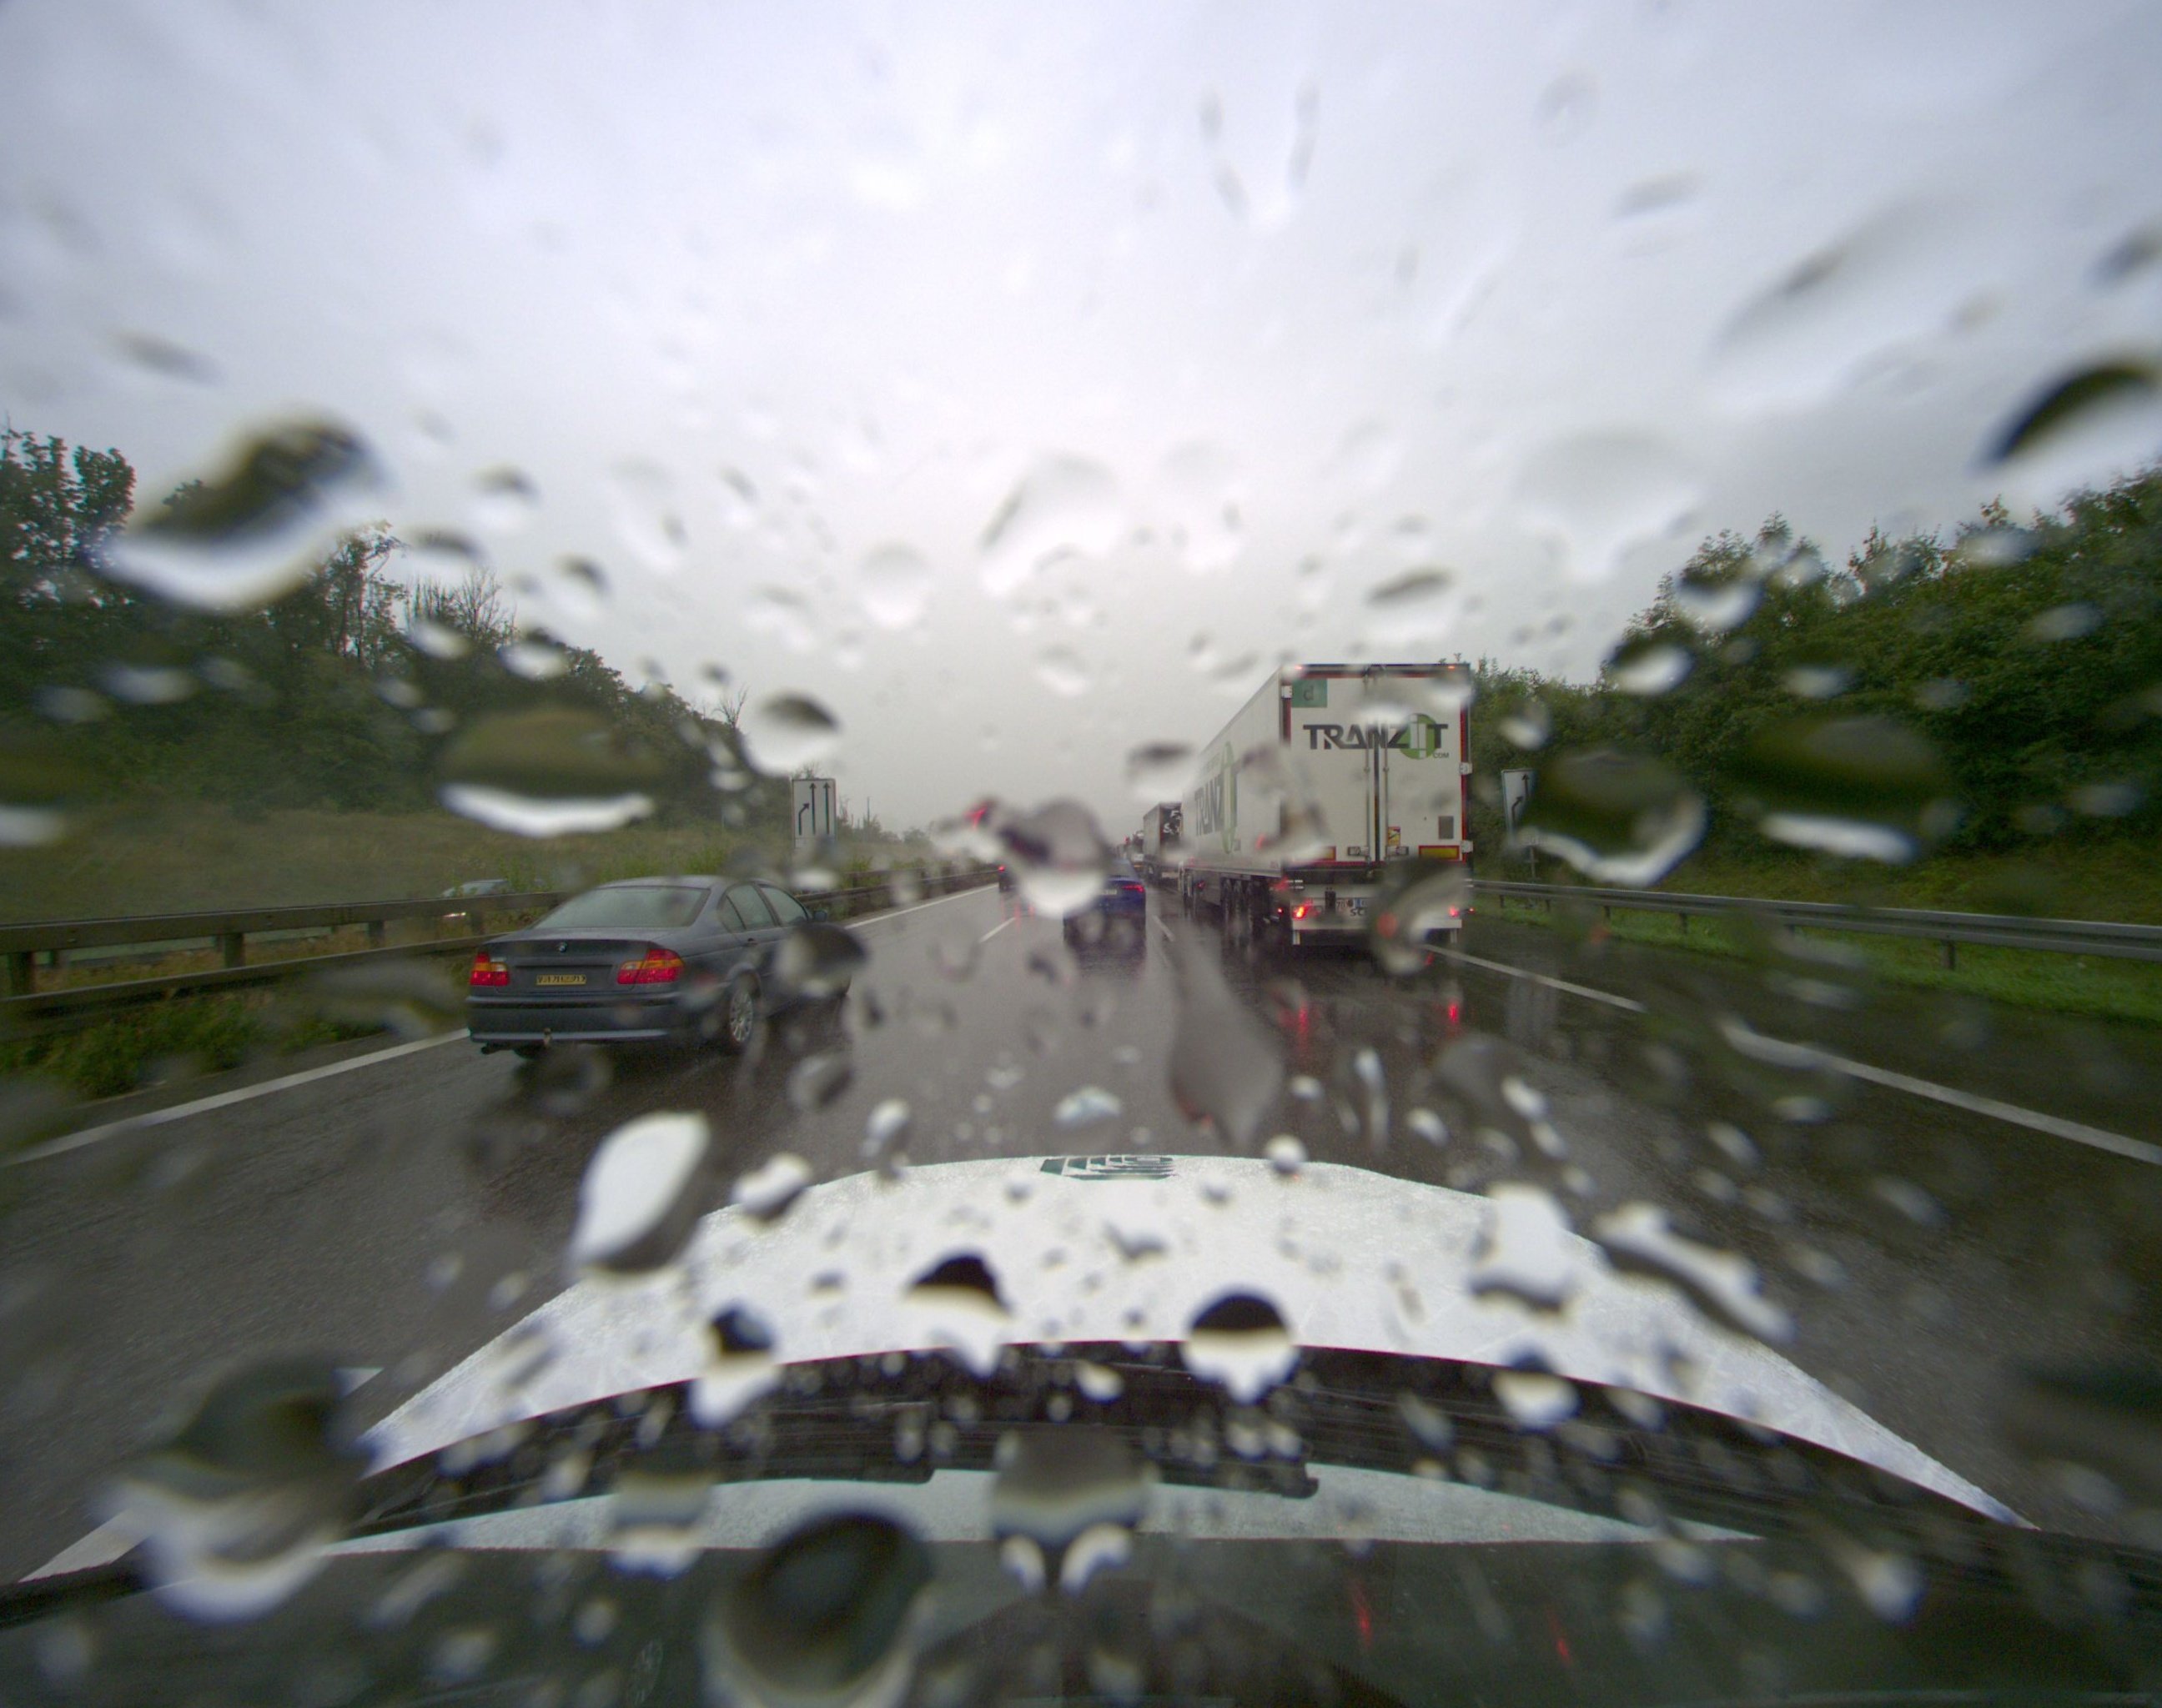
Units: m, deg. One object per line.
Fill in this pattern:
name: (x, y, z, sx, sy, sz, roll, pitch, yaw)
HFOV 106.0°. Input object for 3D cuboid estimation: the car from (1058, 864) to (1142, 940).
car: (0.460, 0.978, 18.216, 1.629, 1.445, 4.002, -1, 0, 2)

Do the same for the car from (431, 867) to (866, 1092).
car: (-3.457, 0.873, 7.565, 1.712, 1.400, 4.230, -1, 0, 1)

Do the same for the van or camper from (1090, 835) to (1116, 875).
van or camper: (1.660, 0.092, 60.182, 1.791, 2.806, 4.769, -1, 0, 2)

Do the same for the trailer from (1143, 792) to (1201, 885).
trailer: (4.564, -0.744, 42.645, 2.039, 4.176, 11.452, -1, 0, 2)

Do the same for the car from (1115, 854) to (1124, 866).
car: (6.136, 0.944, 130.773, 1.443, 1.784, 3.410, -1, 0, 2)

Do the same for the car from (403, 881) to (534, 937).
car: (-16.363, 1.439, 21.906, 1.245, 1.315, 2.896, -1, -1, 1)

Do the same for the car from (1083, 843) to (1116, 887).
car: (0.803, 0.429, 34.878, 1.332, 1.780, 3.323, -1, 0, 2)

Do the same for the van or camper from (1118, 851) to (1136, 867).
van or camper: (4.992, 0.541, 89.088, 1.765, 1.625, 4.485, -1, 1, 1)

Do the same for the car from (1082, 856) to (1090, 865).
car: (1.010, 1.280, 166.663, 1.443, 1.784, 3.410, -1, 0, 2)

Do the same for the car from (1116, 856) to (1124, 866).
car: (6.750, 1.200, 142.188, 1.244, 1.512, 3.109, -2, 1, 1)

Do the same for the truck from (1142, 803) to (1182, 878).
truck: (4.730, -0.757, 48.027, 2.039, 4.193, 4.001, -1, 0, 1)

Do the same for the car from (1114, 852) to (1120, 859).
car: (9.844, 0.391, 222.247, 1.443, 1.784, 3.410, -1, 0, 2)

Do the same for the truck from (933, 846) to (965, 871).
truck: (-18.582, 0.531, 115.180, 2.916, 3.281, 9.255, -1, 1, 0)

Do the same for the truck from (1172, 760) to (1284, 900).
truck: (4.346, -0.662, 24.979, 2.621, 3.827, 4.793, -1, 0, 1)

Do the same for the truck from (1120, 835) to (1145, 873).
truck: (4.944, -0.033, 79.285, 1.987, 3.421, 8.032, -1, 1, 0)

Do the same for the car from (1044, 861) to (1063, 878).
car: (-2.381, 1.317, 70.642, 1.434, 1.420, 3.323, -1, 0, 2)

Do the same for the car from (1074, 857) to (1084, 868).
car: (-0.267, 1.372, 130.039, 1.443, 1.784, 3.410, -1, 0, 2)

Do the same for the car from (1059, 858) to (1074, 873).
car: (-1.524, 1.234, 87.328, 1.434, 1.533, 3.323, -1, 0, 2)

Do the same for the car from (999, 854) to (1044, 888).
car: (-2.851, 0.805, 39.772, 1.715, 1.523, 4.003, -1, 0, 3)

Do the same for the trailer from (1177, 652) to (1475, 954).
trailer: (4.154, -0.718, 18.259, 2.620, 4.013, 14.635, -1, 0, 2)
